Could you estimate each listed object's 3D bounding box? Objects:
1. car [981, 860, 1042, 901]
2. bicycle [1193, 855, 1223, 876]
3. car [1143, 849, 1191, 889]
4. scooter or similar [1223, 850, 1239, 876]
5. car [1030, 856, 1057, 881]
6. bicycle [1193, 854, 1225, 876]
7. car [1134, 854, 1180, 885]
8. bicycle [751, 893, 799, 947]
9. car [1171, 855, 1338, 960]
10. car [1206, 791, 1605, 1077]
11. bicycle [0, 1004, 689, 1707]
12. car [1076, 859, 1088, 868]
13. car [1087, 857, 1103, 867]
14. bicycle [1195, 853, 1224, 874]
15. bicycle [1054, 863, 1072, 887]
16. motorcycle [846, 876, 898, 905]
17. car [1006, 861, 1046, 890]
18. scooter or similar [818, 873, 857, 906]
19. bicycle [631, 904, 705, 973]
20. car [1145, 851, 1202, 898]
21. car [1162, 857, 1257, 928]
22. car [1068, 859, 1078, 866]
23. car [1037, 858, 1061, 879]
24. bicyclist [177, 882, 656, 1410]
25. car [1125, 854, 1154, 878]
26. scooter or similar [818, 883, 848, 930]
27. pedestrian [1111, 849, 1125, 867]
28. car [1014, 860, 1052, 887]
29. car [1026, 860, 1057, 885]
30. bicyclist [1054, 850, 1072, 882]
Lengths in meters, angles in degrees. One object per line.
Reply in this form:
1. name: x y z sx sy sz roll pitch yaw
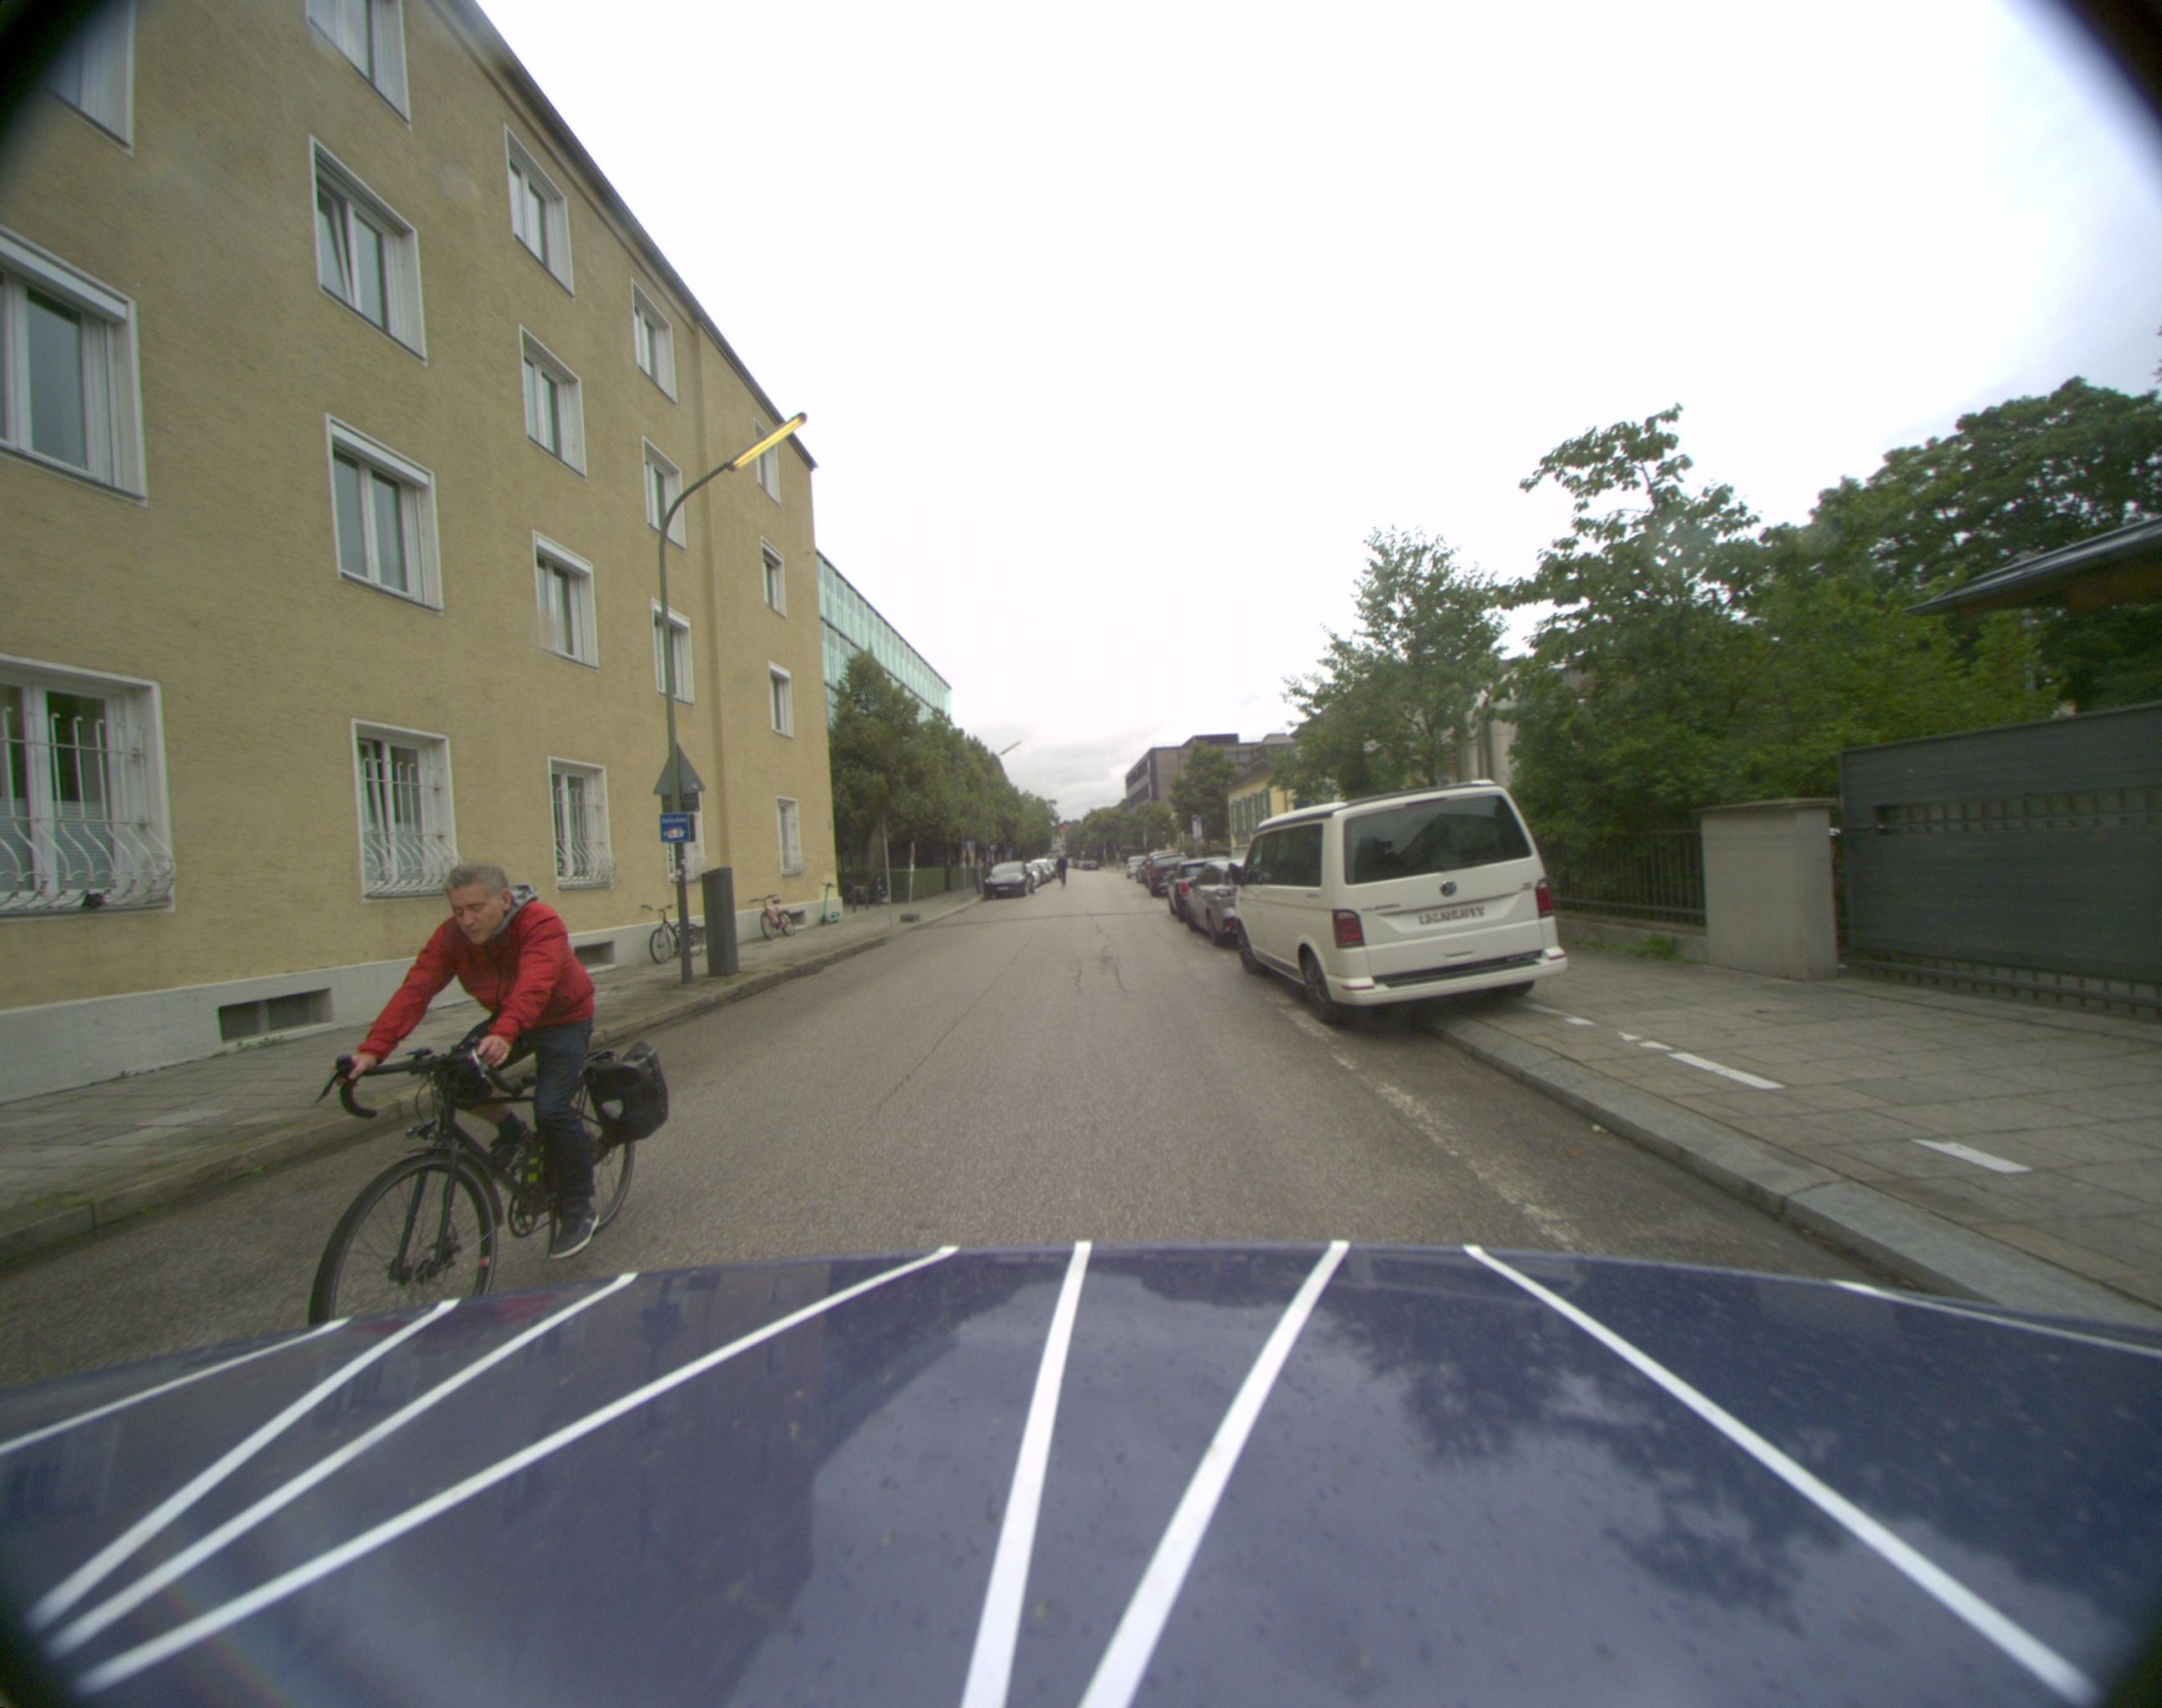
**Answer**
1. car: -3.171 1.179 35.944 1.998 1.621 5.101 -5 0 4
2. bicycle: 7.331 0.659 43.832 1.633 1.130 0.387 -3 0 0
3. car: 4.116 0.703 37.079 1.906 1.682 4.809 -5 0 3
4. scooter or similar: 8.038 0.459 40.670 0.375 1.335 1.355 -3 0 28
5. car: -3.075 1.143 62.719 1.789 1.884 4.574 -5 0 1
6. bicycle: 7.443 0.615 44.207 1.705 1.165 0.352 -3 0 0
7. car: 4.183 0.837 42.474 1.901 1.510 4.655 -5 0 -1
8. bicycle: -7.243 1.546 18.061 0.343 1.128 1.759 -3 0 1
9. car: 2.988 0.852 14.223 1.892 1.534 4.695 -3 0 -1
10. car: 2.852 0.603 8.248 1.971 1.978 5.151 -5 0 0
11. bicycle: -2.225 1.308 2.626 0.674 1.135 2.010 -5 0 -2
12. car: 0.143 1.769 139.980 1.999 1.510 3.999 -5 0 -3
13. car: 2.037 1.126 110.648 1.929 1.390 4.486 -3 0 -3
14. bicycle: 7.604 0.570 44.908 1.631 1.166 0.466 -4 0 9
15. bicycle: -0.960 1.132 41.472 0.720 1.199 1.802 -5 -1 3
16. motorcycle: -8.545 1.506 31.051 1.898 1.126 0.708 -1 1 3
17. car: -3.208 1.269 45.488 1.999 1.451 4.956 -5 0 -1
18. scooter or similar: -9.987 1.457 31.227 1.351 1.295 0.670 -2 2 -2
19. bicycle: -7.676 1.545 14.212 0.343 1.075 1.814 -1 0 1
20. car: 3.570 0.745 30.178 1.850 1.598 4.743 -5 0 4
21. car: 3.136 0.888 19.312 1.863 1.535 4.188 -2 0 3
22. car: -1.788 1.867 170.561 1.999 1.510 3.999 -5 0 -3
23. car: -2.852 1.272 68.754 1.872 1.681 4.784 -5 0 0
24. bicyclist: -2.243 0.885 2.751 0.756 1.474 0.981 -5 1 -2
25. car: 4.187 0.828 54.815 1.729 1.483 4.462 -5 0 1
26. scooter or similar: -7.119 1.491 21.843 0.343 1.248 1.309 -2 0 1
27. pedestrian: 4.498 0.494 92.337 1.480 2.002 1.500 -5 0 -3
28. car: -3.176 1.275 50.947 1.967 1.543 4.850 -5 0 2
29. car: -2.934 1.349 56.836 1.952 1.543 5.005 -5 0 0
30. bicyclist: -0.991 0.654 41.533 0.780 1.657 1.035 -5 -1 3
